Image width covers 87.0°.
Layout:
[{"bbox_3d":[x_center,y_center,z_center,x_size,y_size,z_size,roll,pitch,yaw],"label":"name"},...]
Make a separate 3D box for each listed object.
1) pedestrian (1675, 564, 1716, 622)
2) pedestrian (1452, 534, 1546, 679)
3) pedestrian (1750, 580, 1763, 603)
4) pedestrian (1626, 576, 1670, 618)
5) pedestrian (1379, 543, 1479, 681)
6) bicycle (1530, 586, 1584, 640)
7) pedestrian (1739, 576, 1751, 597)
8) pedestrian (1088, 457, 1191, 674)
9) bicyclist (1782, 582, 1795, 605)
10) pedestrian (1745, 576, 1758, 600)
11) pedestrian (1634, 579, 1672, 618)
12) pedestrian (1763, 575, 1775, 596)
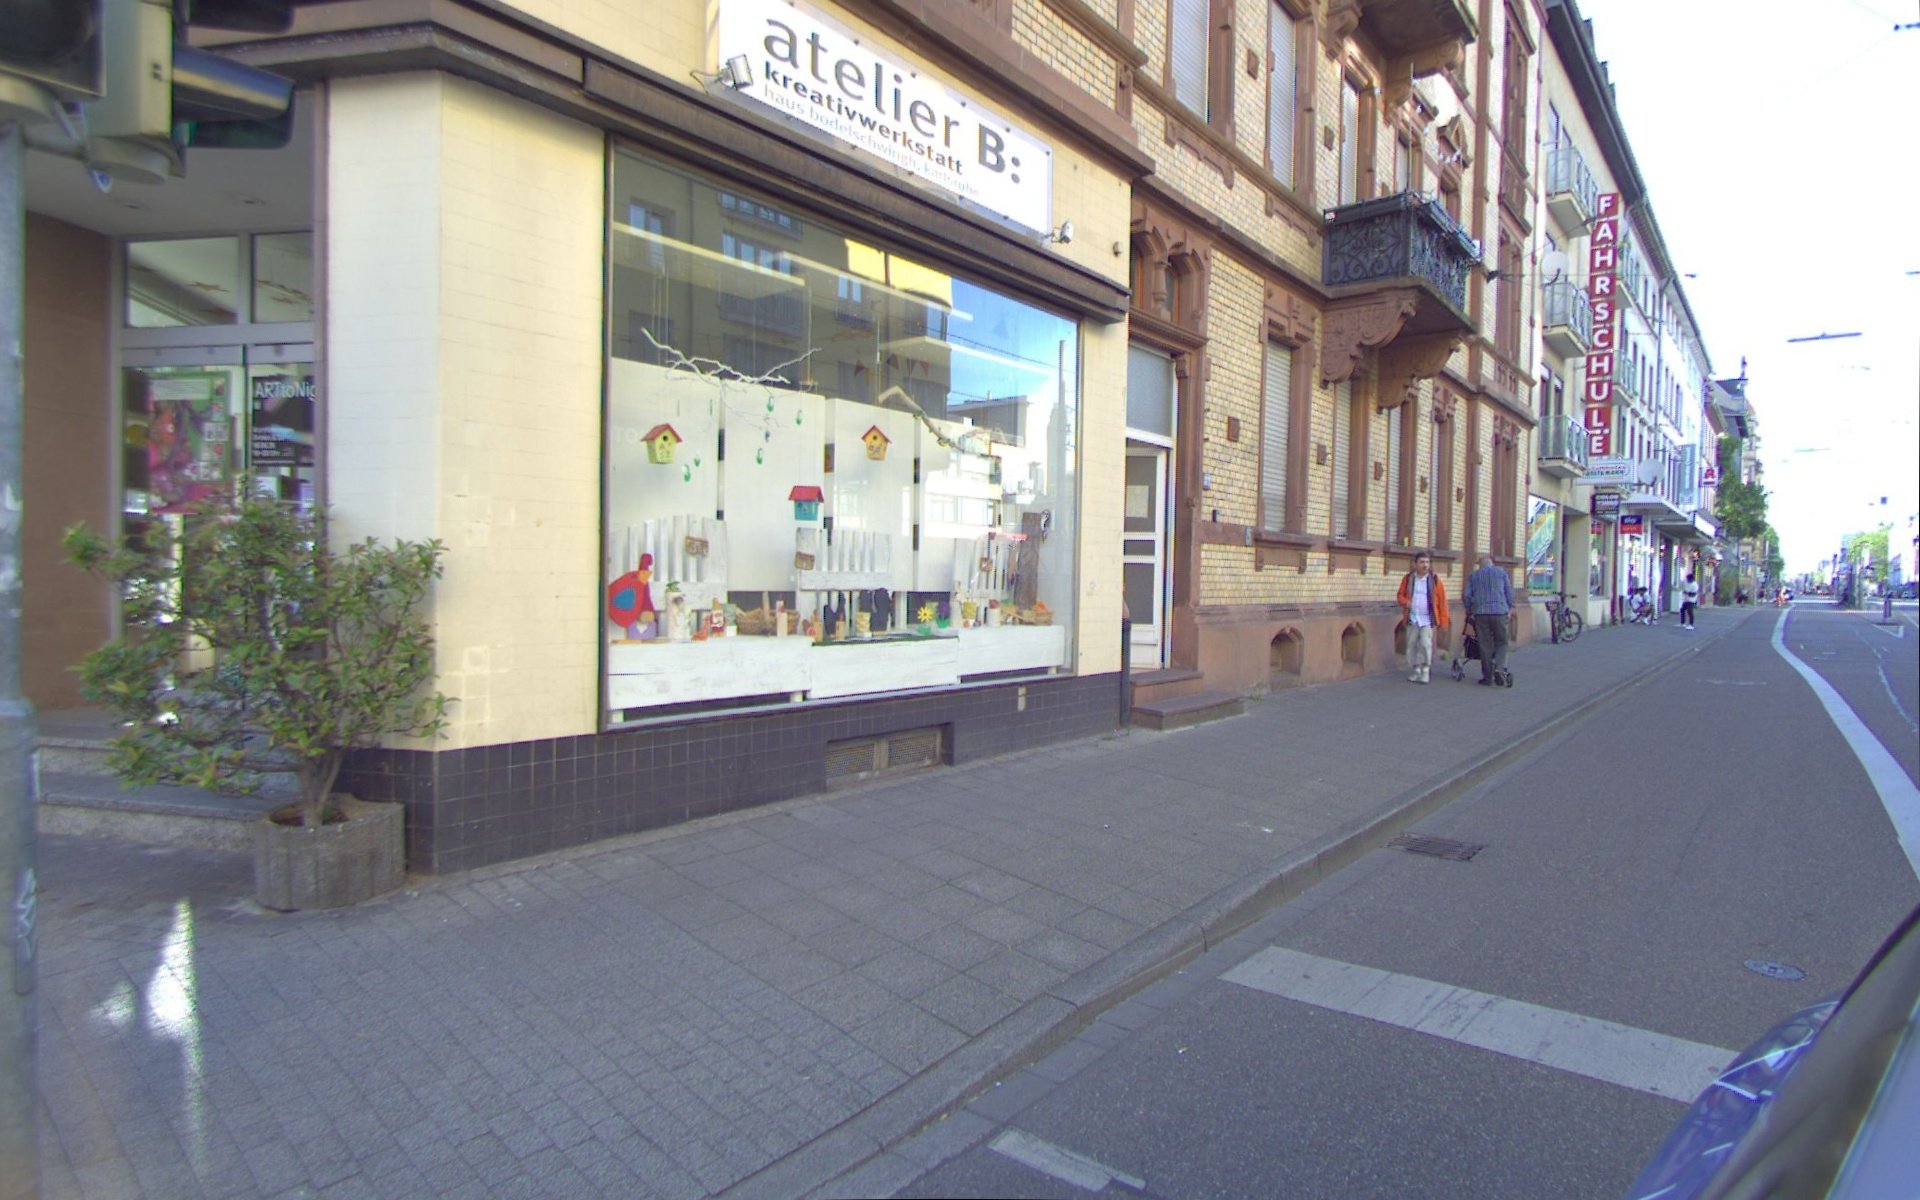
[{"bbox_3d":[24.332,-0.235,33.490,0.666,1.833,0.708,3,5,-34],"label":"pedestrian"},{"bbox_3d":[7.216,0.071,13.550,0.805,1.821,0.750,7,4,40],"label":"pedestrian"},{"bbox_3d":[60.862,-0.678,77.307,0.646,1.737,0.796,2,1,34],"label":"pedestrian"},{"bbox_3d":[22.769,-0.114,33.484,0.816,1.270,0.706,6,5,6],"label":"pedestrian"},{"bbox_3d":[6.045,0.144,13.037,0.798,1.646,0.813,9,5,41],"label":"pedestrian"},{"bbox_3d":[13.008,0.258,22.019,0.555,1.073,2.277,5,4,41],"label":"bicycle"},{"bbox_3d":[60.207,-1.066,77.602,0.646,1.598,0.674,2,1,34],"label":"pedestrian"},{"bbox_3d":[1.666,-0.322,9.393,0.514,1.928,0.586,9,5,41],"label":"pedestrian"},{"bbox_3d":[58.002,-0.457,70.819,0.674,1.634,0.826,1,1,39],"label":"bicyclist"},{"bbox_3d":[60.527,-0.914,77.360,0.685,1.793,0.649,0,2,-44],"label":"pedestrian"},{"bbox_3d":[23.477,-0.063,34.300,0.699,1.188,1.009,7,5,21],"label":"pedestrian"},{"bbox_3d":[73.349,-1.308,91.778,0.805,1.822,0.750,2,2,41],"label":"pedestrian"}]
